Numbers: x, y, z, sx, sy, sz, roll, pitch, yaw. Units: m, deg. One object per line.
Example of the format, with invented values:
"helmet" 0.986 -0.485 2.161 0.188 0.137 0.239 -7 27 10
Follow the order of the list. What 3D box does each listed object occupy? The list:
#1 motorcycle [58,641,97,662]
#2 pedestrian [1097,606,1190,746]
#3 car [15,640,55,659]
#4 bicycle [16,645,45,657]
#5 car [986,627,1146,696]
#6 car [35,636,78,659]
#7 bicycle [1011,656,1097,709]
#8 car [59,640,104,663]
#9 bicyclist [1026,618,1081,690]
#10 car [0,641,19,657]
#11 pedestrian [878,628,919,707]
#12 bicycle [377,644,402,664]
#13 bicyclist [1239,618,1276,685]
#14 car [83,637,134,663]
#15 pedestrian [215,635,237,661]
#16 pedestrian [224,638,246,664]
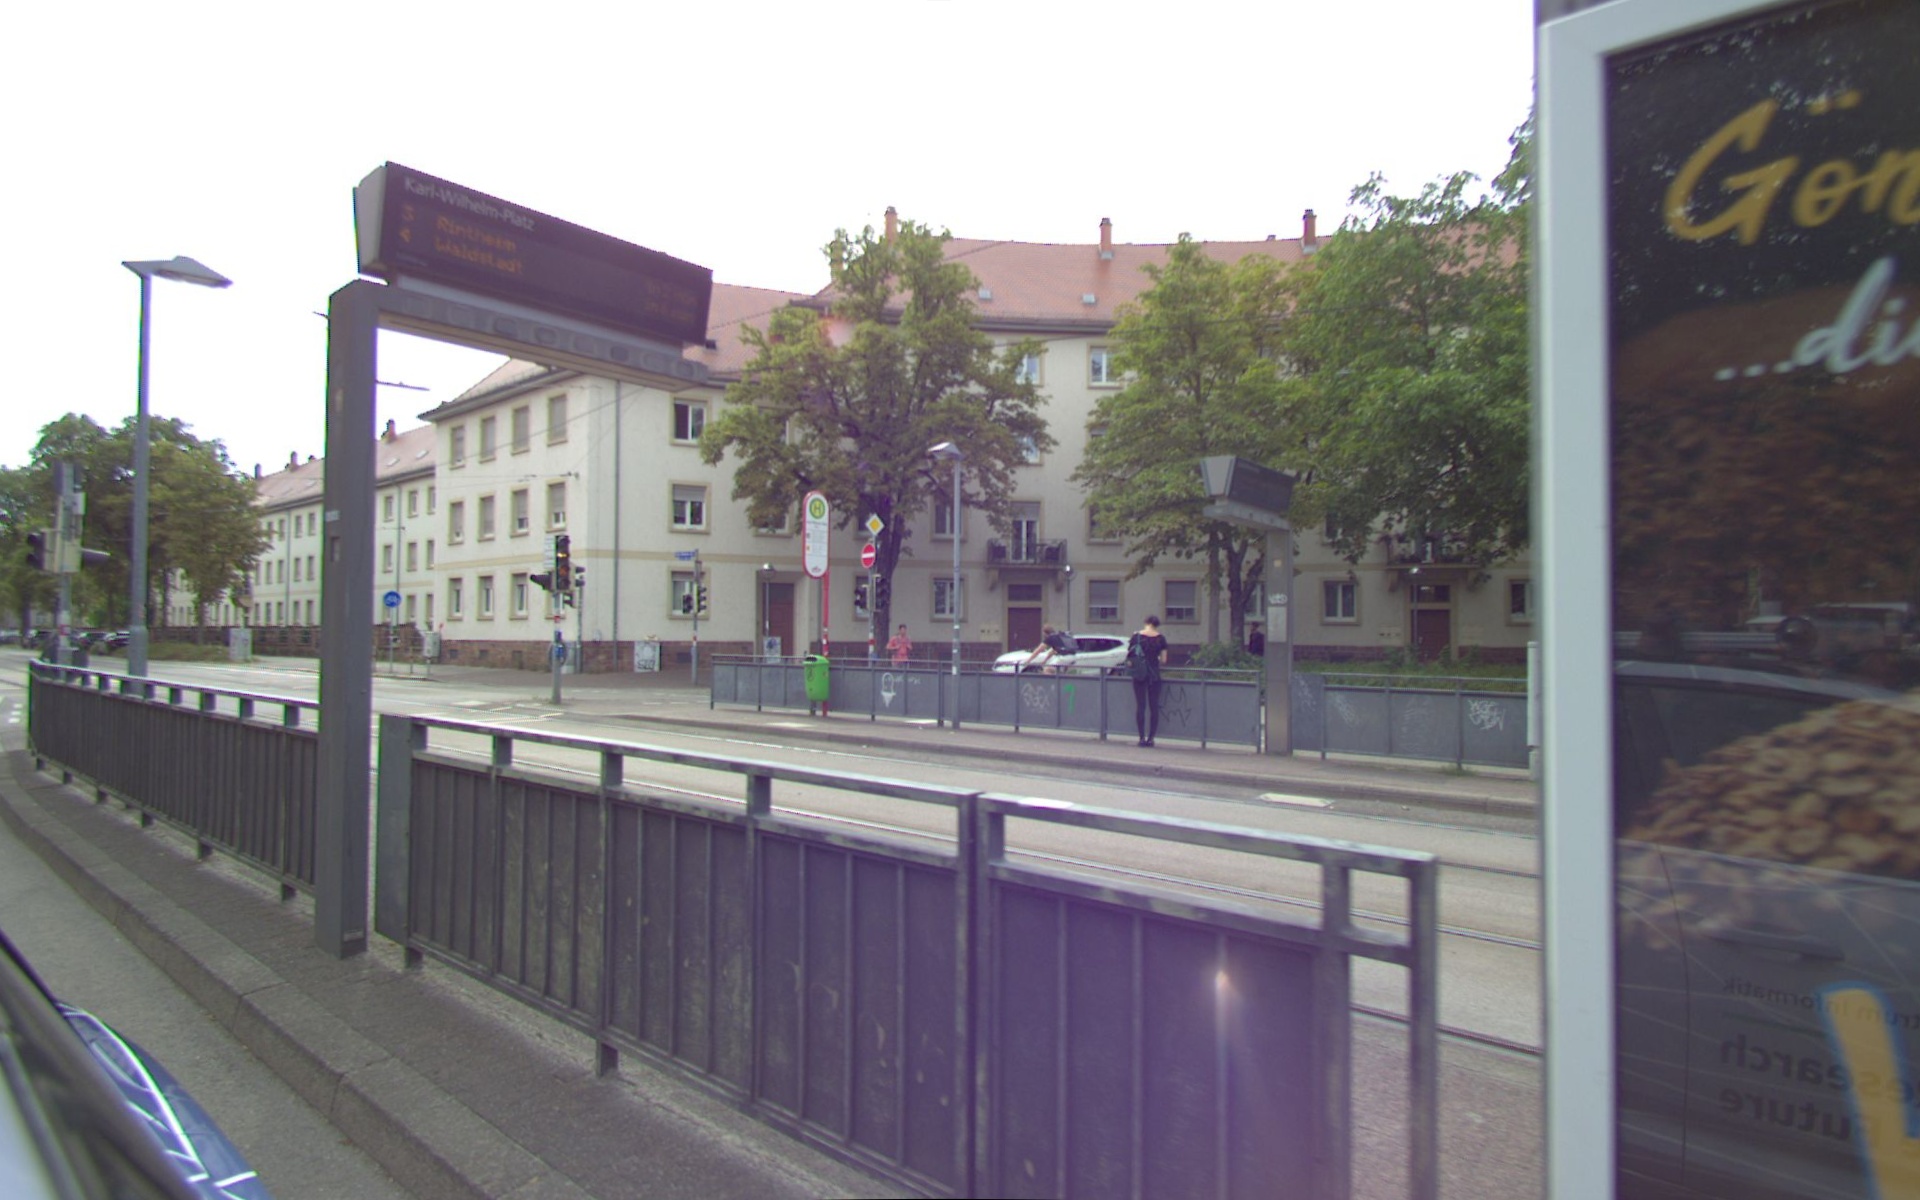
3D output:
"motorcycle" -60.767 3.517 69.692 0.591 1.269 1.850 -2 2 36
"pedestrian" 2.244 0.907 12.382 0.841 1.633 0.844 -2 -3 35
"car" -73.613 3.929 80.527 4.294 1.482 1.680 -2 -3 39
"bicycle" -76.980 4.183 83.799 0.671 0.978 1.654 -2 -3 31
"car" 2.955 1.726 28.606 4.092 1.734 1.845 2 -2 -9
"car" -66.628 3.517 74.606 4.297 1.624 1.767 -2 -3 41
"bicycle" 1.795 1.560 19.431 1.549 0.956 0.654 -2 -3 41
"car" -58.046 3.356 66.858 4.297 1.434 1.679 -2 -2 41
"bicyclist" 1.796 1.035 19.456 0.835 1.350 0.654 -2 -3 41
"car" -88.160 4.507 93.079 4.294 1.482 1.680 -2 -2 39
"pedestrian" -1.528 1.652 25.114 0.720 1.915 0.838 2 -3 -31
"bicycle" -26.688 2.531 47.314 1.671 0.922 0.472 -2 -3 41
"bicyclist" 8.113 1.406 27.601 0.902 1.789 0.610 -1 -3 13
"car" -51.861 3.041 61.620 4.297 1.434 1.679 -2 0 41
"pedestrian" -43.105 2.812 59.462 0.731 1.524 0.825 -2 -3 35
"pedestrian" -41.931 2.949 58.528 0.731 1.476 0.825 -2 -3 35
